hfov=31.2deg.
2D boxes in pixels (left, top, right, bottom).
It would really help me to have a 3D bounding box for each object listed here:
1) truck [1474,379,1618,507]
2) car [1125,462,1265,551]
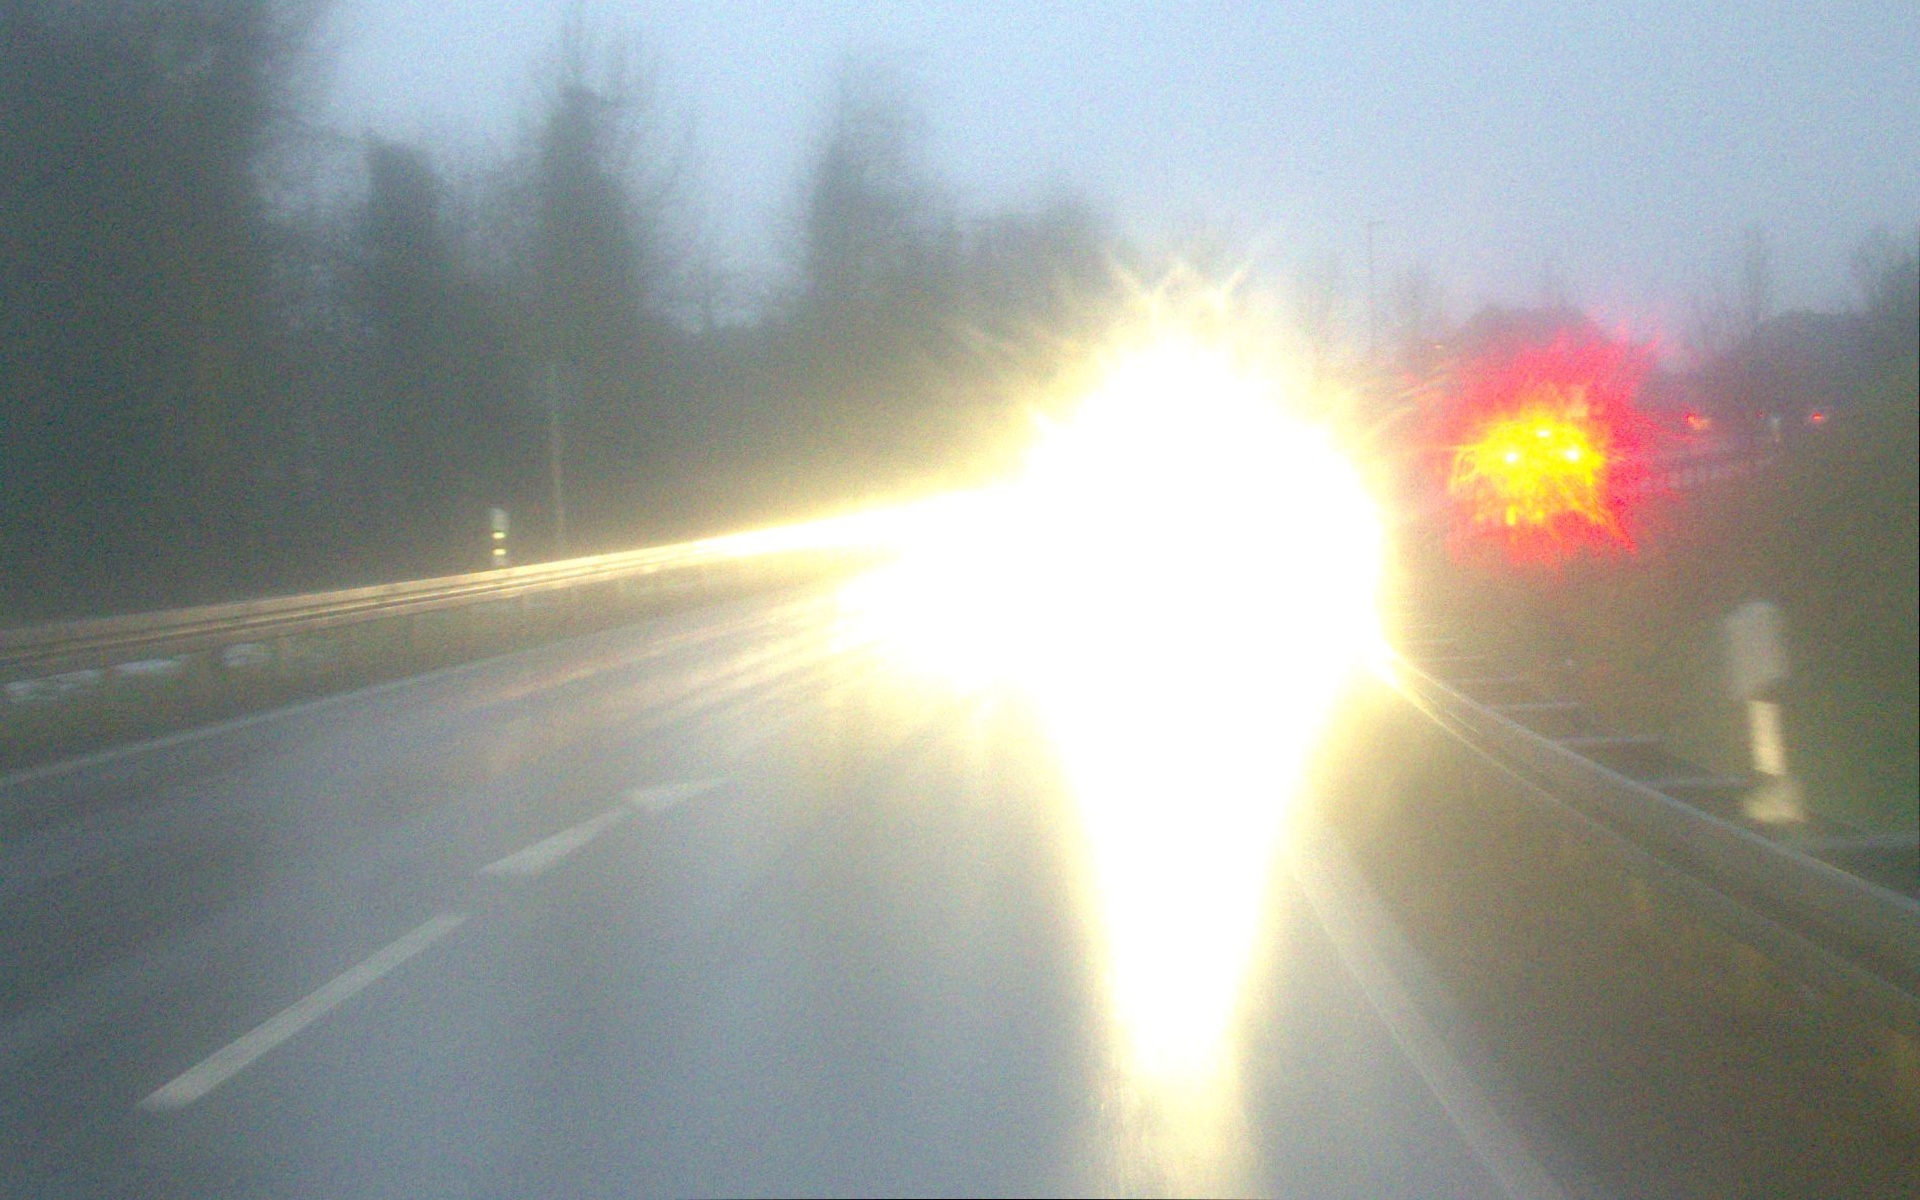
[{"bbox_3d":[14.102,-3.808,82.410,2.534,2.859,5.918,-2,3,17],"label":"truck"},{"bbox_3d":[4.628,-1.825,67.091,1.995,1.615,4.595,3,2,13],"label":"car"}]
